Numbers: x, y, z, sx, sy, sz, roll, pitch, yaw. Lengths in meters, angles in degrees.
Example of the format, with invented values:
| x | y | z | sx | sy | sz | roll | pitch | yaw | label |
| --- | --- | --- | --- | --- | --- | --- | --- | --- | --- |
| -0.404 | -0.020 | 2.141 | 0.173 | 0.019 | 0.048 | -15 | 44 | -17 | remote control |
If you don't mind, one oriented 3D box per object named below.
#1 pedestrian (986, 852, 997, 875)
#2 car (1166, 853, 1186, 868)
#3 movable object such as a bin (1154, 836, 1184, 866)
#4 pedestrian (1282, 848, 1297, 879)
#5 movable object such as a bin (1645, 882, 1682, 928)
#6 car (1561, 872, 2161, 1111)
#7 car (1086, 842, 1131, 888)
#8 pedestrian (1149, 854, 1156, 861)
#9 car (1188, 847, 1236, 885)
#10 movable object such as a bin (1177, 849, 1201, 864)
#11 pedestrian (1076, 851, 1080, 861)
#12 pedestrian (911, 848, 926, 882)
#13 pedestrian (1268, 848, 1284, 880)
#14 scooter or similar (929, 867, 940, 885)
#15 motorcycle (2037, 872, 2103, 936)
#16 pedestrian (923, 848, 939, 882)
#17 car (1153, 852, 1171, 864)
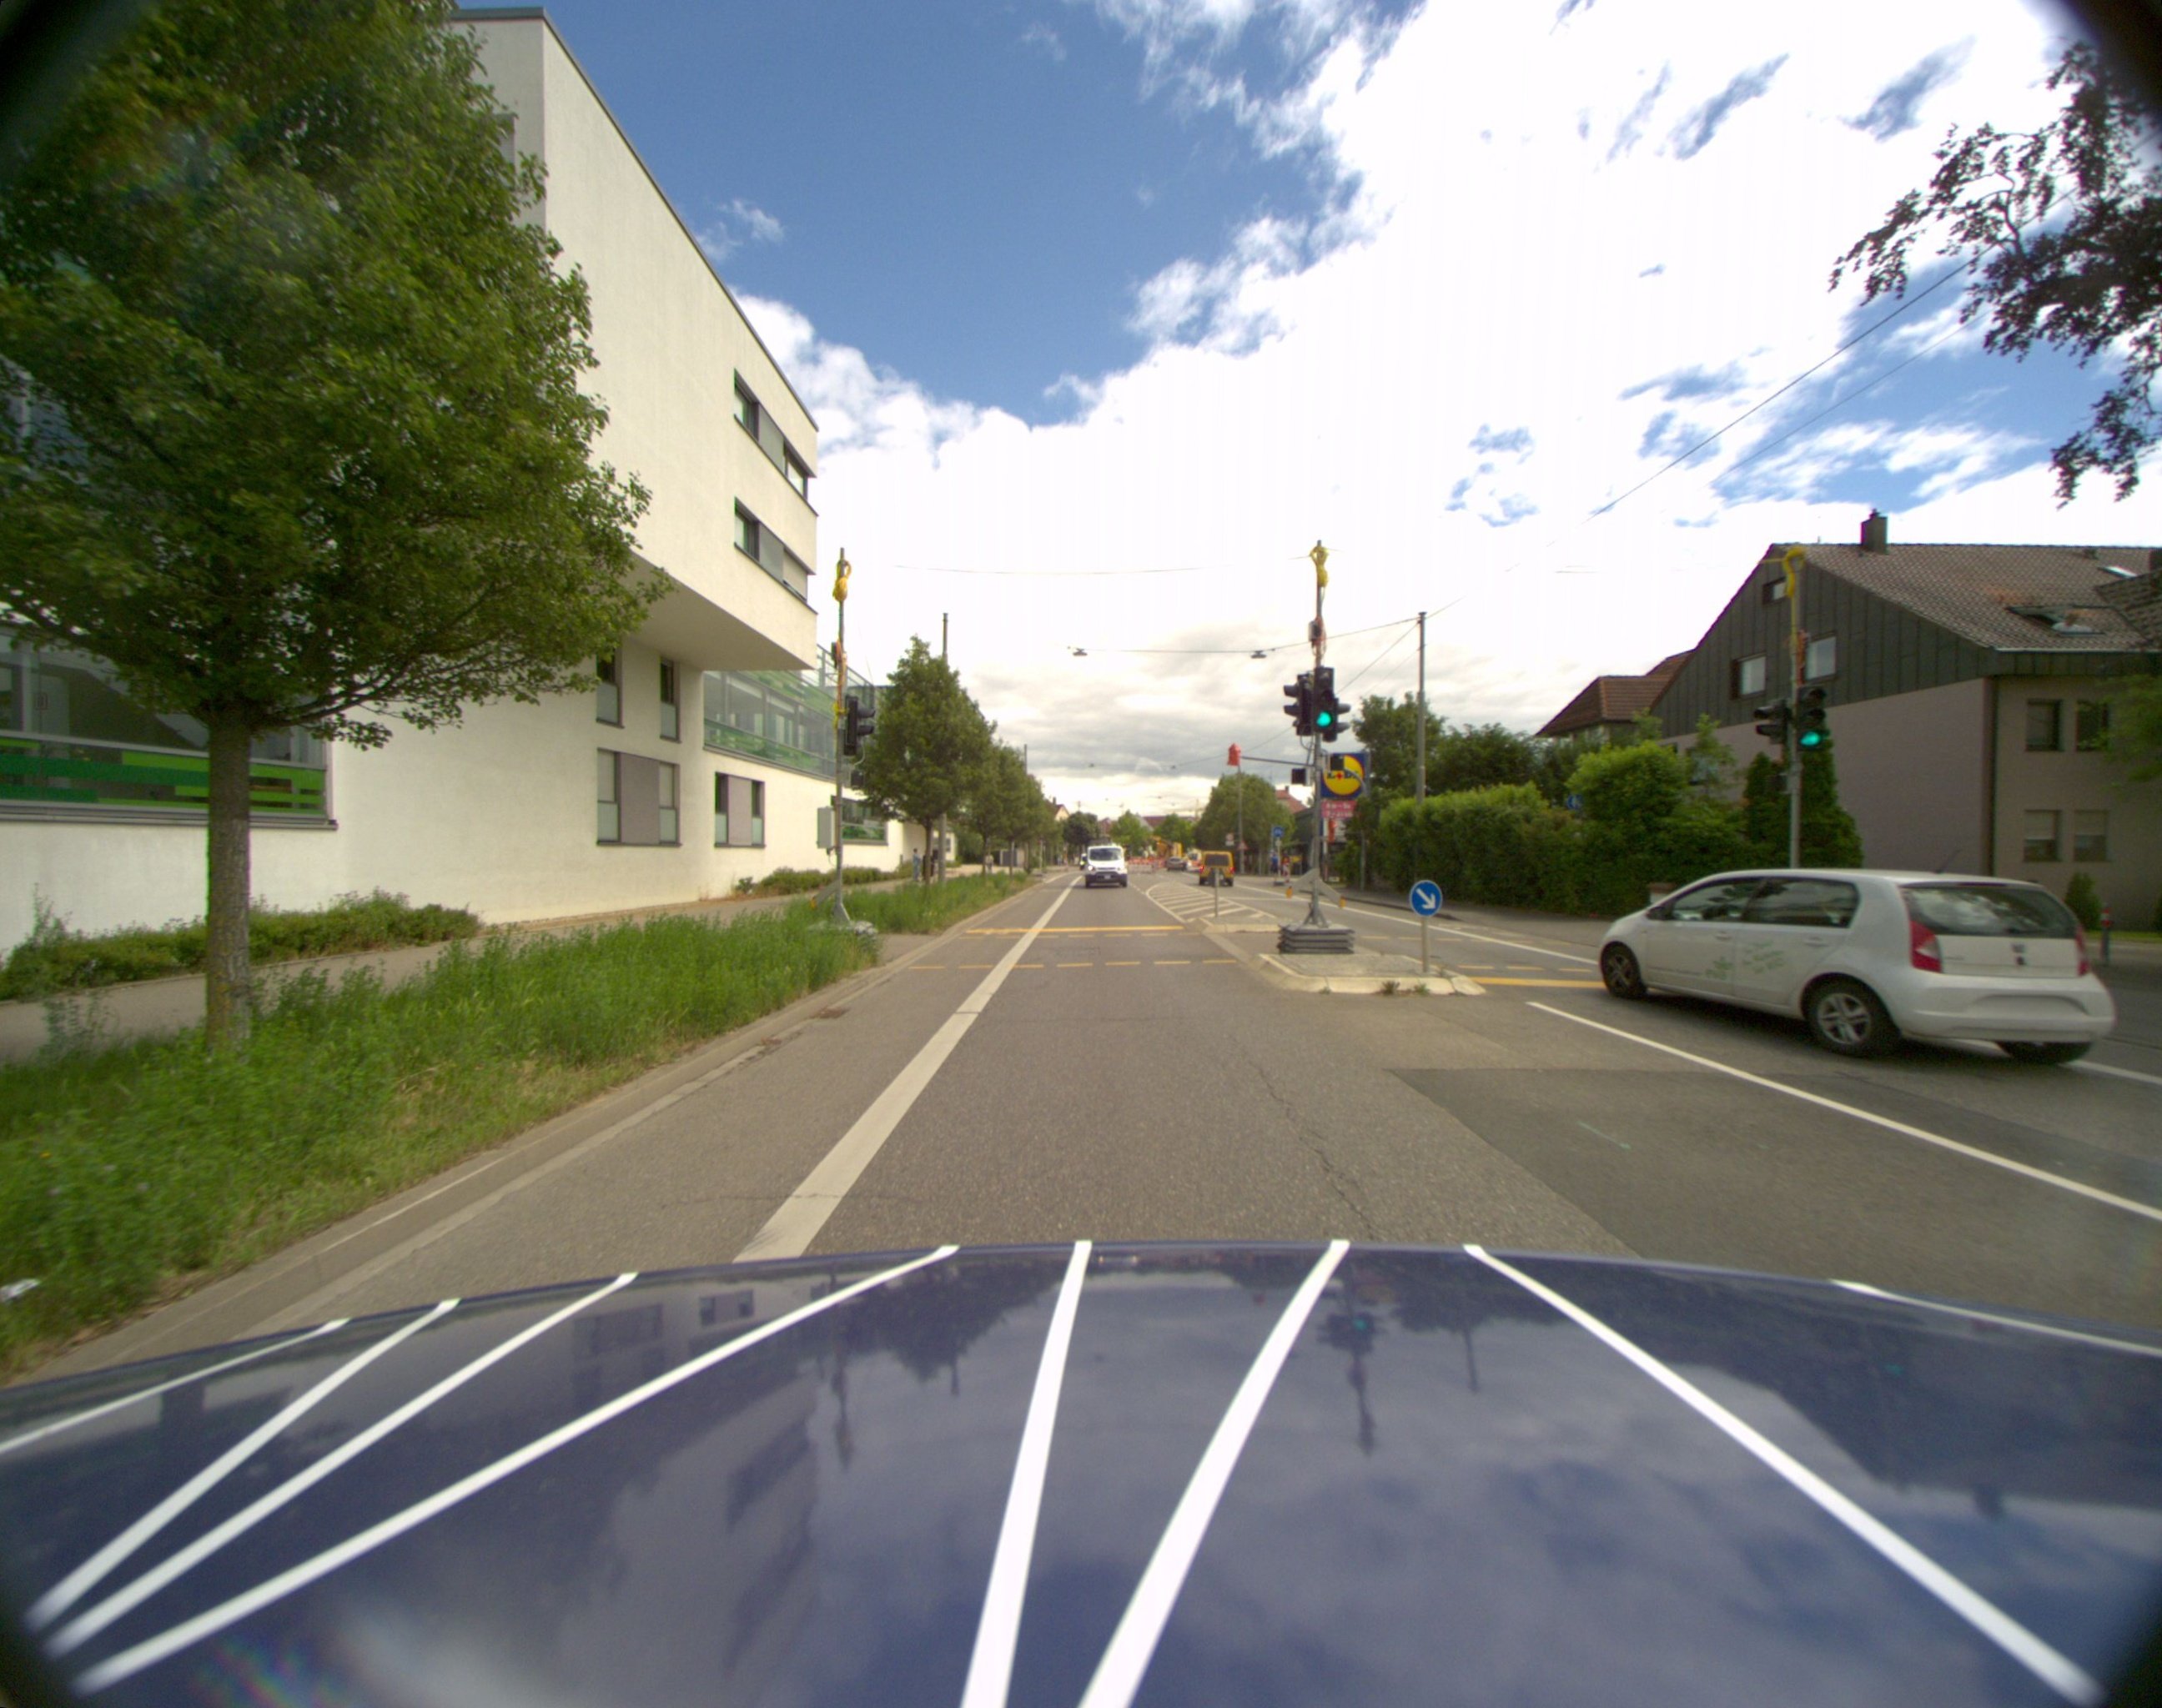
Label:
| x | y | z | sx | sy | sz | roll | pitch | yaw | label |
| --- | --- | --- | --- | --- | --- | --- | --- | --- | --- |
| -6.248 | 0.671 | 53.026 | 0.582 | 1.542 | 0.869 | 1 | 1 | 1 | pedestrian |
| 10.363 | 0.659 | 83.329 | 1.753 | 1.546 | 4.402 | 1 | 0 | 1 | car |
| 13.290 | -0.406 | 114.138 | 2.594 | 4.197 | 11.135 | 2 | 0 | 16 | movable object such as a bin |
| 12.351 | 0.543 | 45.086 | 0.683 | 1.844 | 0.706 | 1 | 1 | 1 | pedestrian |
| 12.754 | 1.107 | 16.645 | 0.557 | 0.947 | 0.538 | 0 | 1 | -42 | movable object such as a bin |
| 6.585 | 0.979 | 7.137 | 1.665 | 1.506 | 4.000 | 0 | 0 | 1 | car |
| 1.242 | 0.483 | 36.634 | 1.998 | 2.002 | 5.513 | 0 | 0 | 0 | car |
| 10.226 | 0.435 | 108.526 | 0.791 | 0.985 | 0.813 | 2 | 1 | 30 | pedestrian |
| 7.002 | 0.601 | 41.151 | 1.846 | 1.893 | 4.685 | 1 | 0 | 1 | car |
| 19.732 | 0.476 | 139.020 | 1.994 | 2.610 | 6.536 | 2 | 0 | 30 | movable object such as a bin |
| -0.471 | 0.317 | 114.402 | 0.522 | 1.531 | 0.636 | 1 | 1 | -5 | pedestrian |
| -8.041 | 0.536 | 37.603 | 0.551 | 1.645 | 0.607 | 1 | 1 | 1 | pedestrian |
| 11.547 | 0.601 | 45.053 | 0.683 | 1.844 | 0.892 | 1 | 1 | 1 | pedestrian |
| -7.255 | 1.087 | 37.609 | 0.422 | 0.900 | 0.682 | 1 | 1 | 1 | scooter or similar |
| 22.956 | 1.131 | 17.655 | 0.552 | 1.412 | 1.430 | 2 | 1 | 38 | motorcycle |
| -7.330 | 0.553 | 37.135 | 0.606 | 1.645 | 0.552 | 1 | 1 | 1 | pedestrian |
| 10.845 | 0.521 | 101.941 | 1.998 | 1.391 | 4.811 | 3 | 0 | 1 | car |
